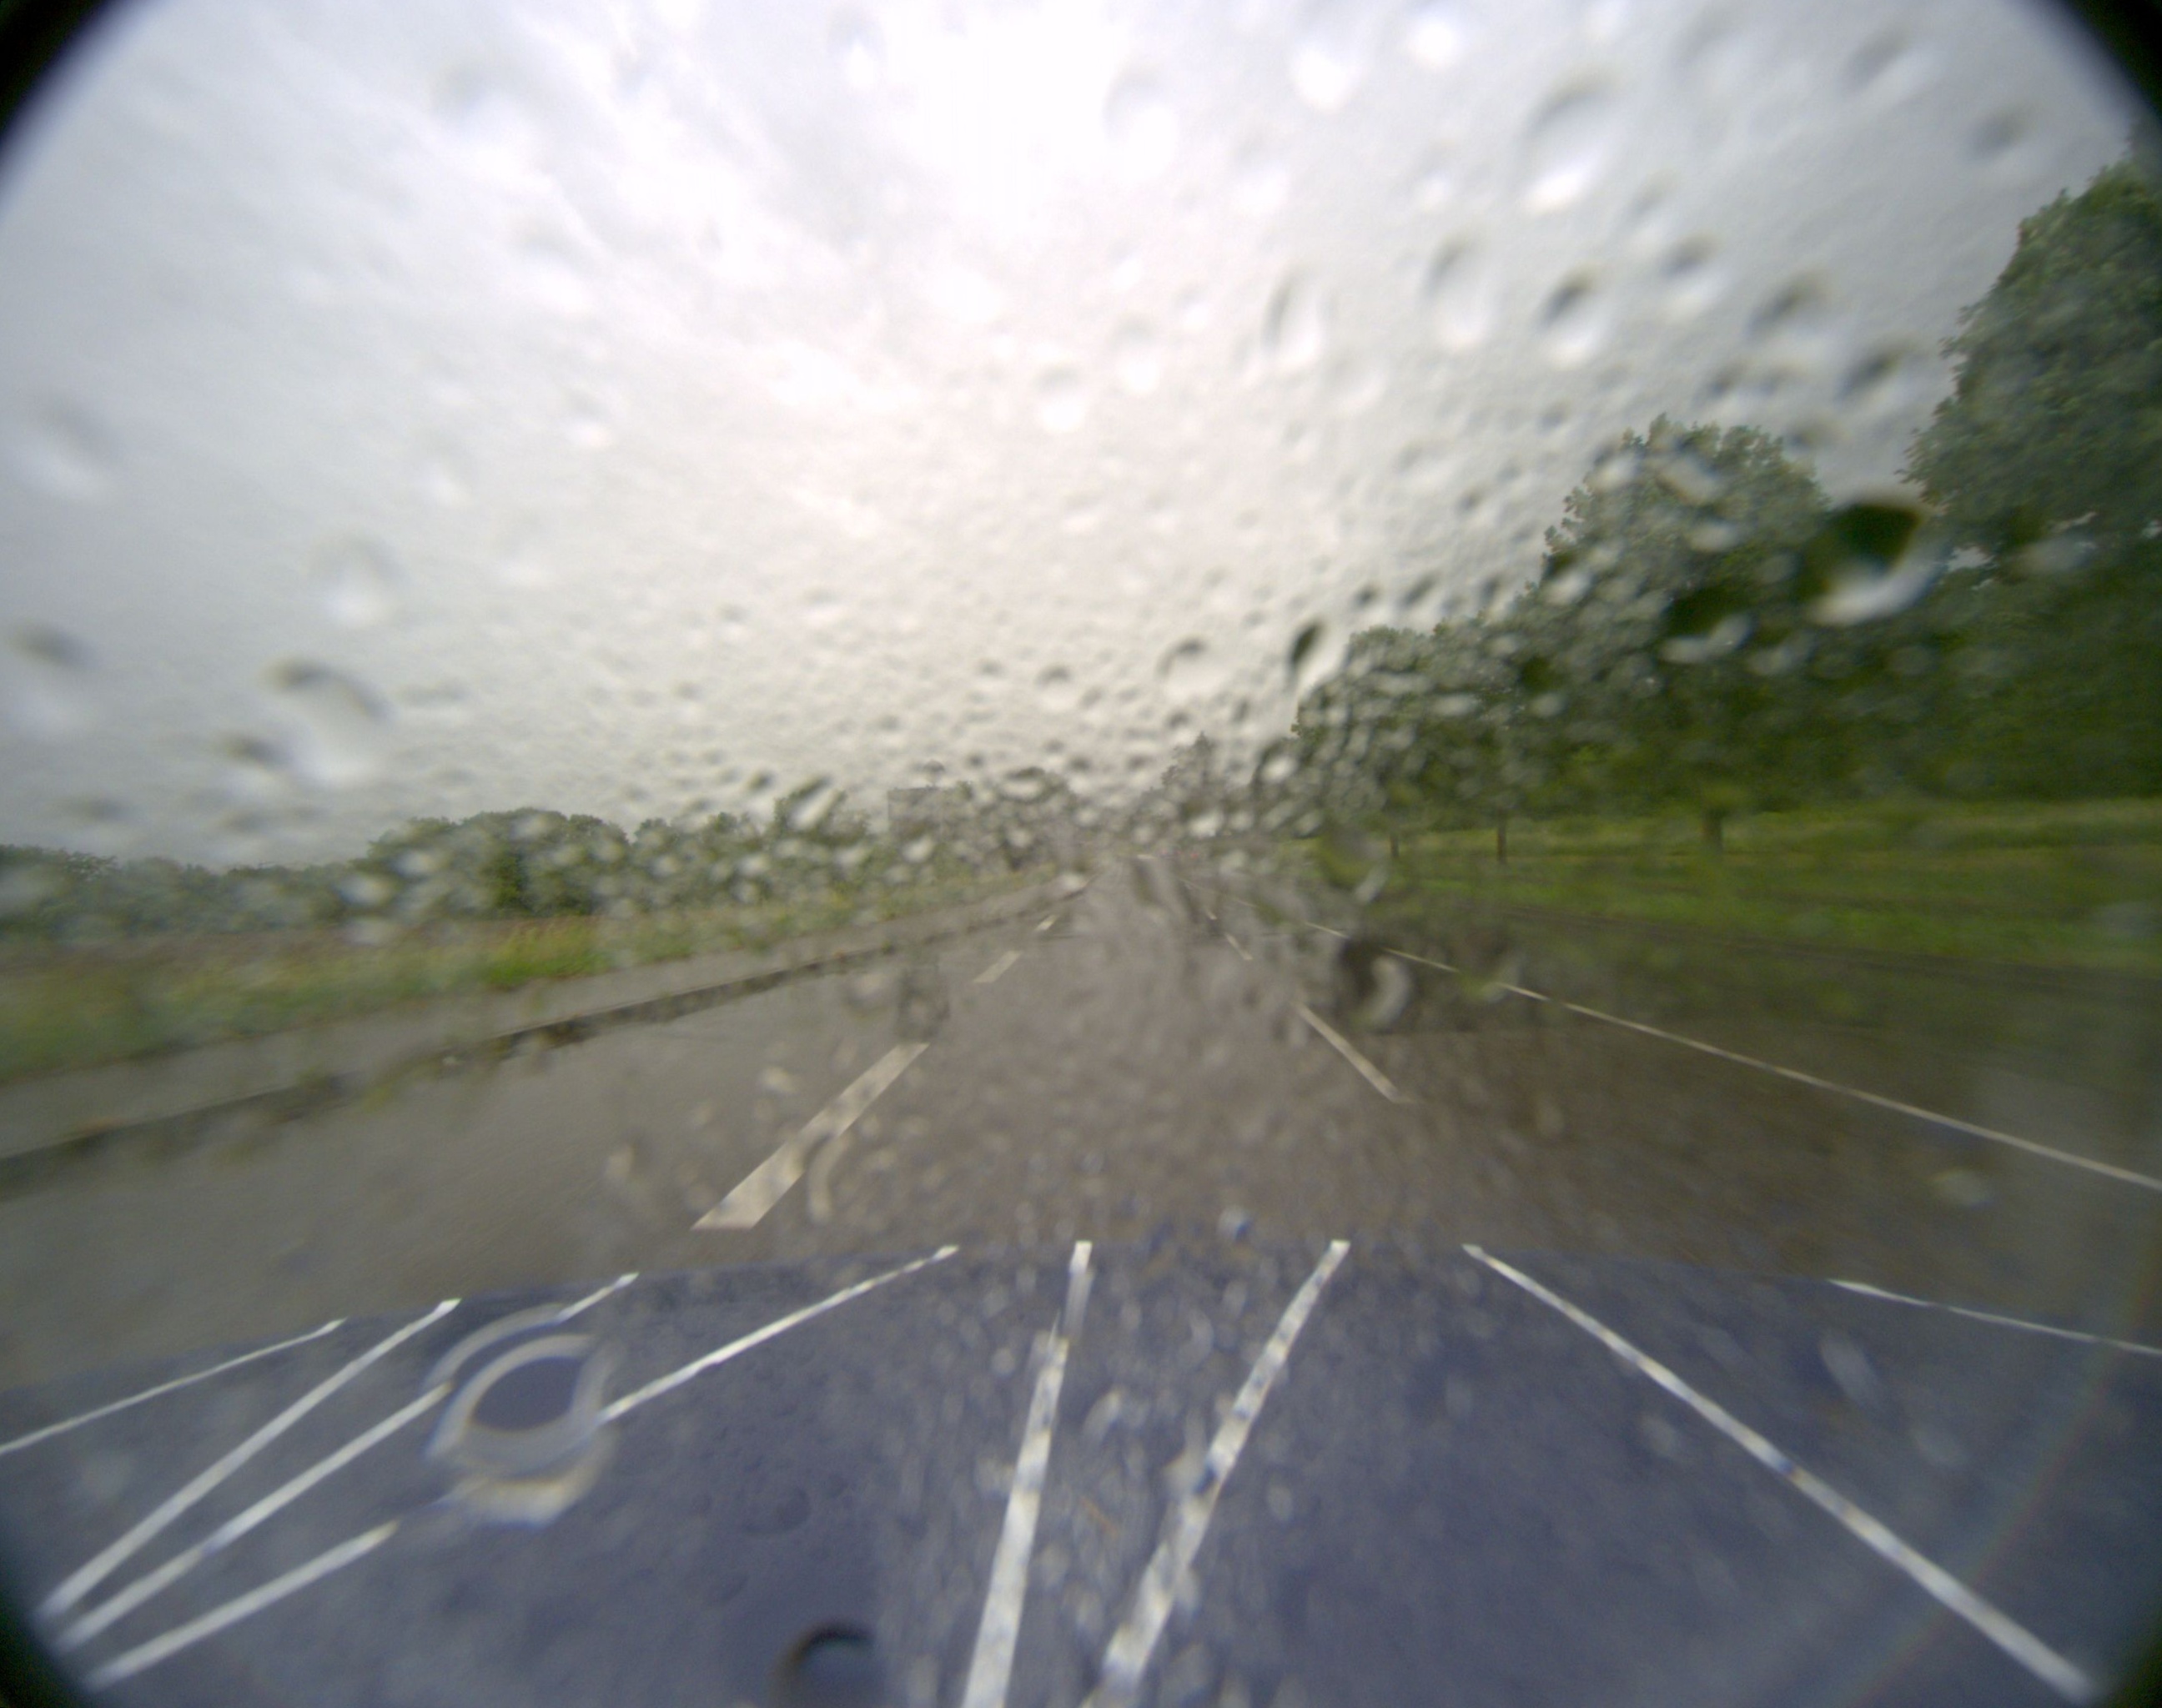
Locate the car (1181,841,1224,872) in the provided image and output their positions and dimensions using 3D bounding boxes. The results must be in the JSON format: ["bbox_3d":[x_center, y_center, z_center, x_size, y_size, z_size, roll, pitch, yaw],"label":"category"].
[{"bbox_3d":[7.271,0.087,45.746,1.929,1.733,4.287,-1,1,0],"label":"car"}]

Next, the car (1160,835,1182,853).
[{"bbox_3d":[9.043,-0.996,76.521,1.745,1.694,4.222,-1,1,1],"label":"car"}]
